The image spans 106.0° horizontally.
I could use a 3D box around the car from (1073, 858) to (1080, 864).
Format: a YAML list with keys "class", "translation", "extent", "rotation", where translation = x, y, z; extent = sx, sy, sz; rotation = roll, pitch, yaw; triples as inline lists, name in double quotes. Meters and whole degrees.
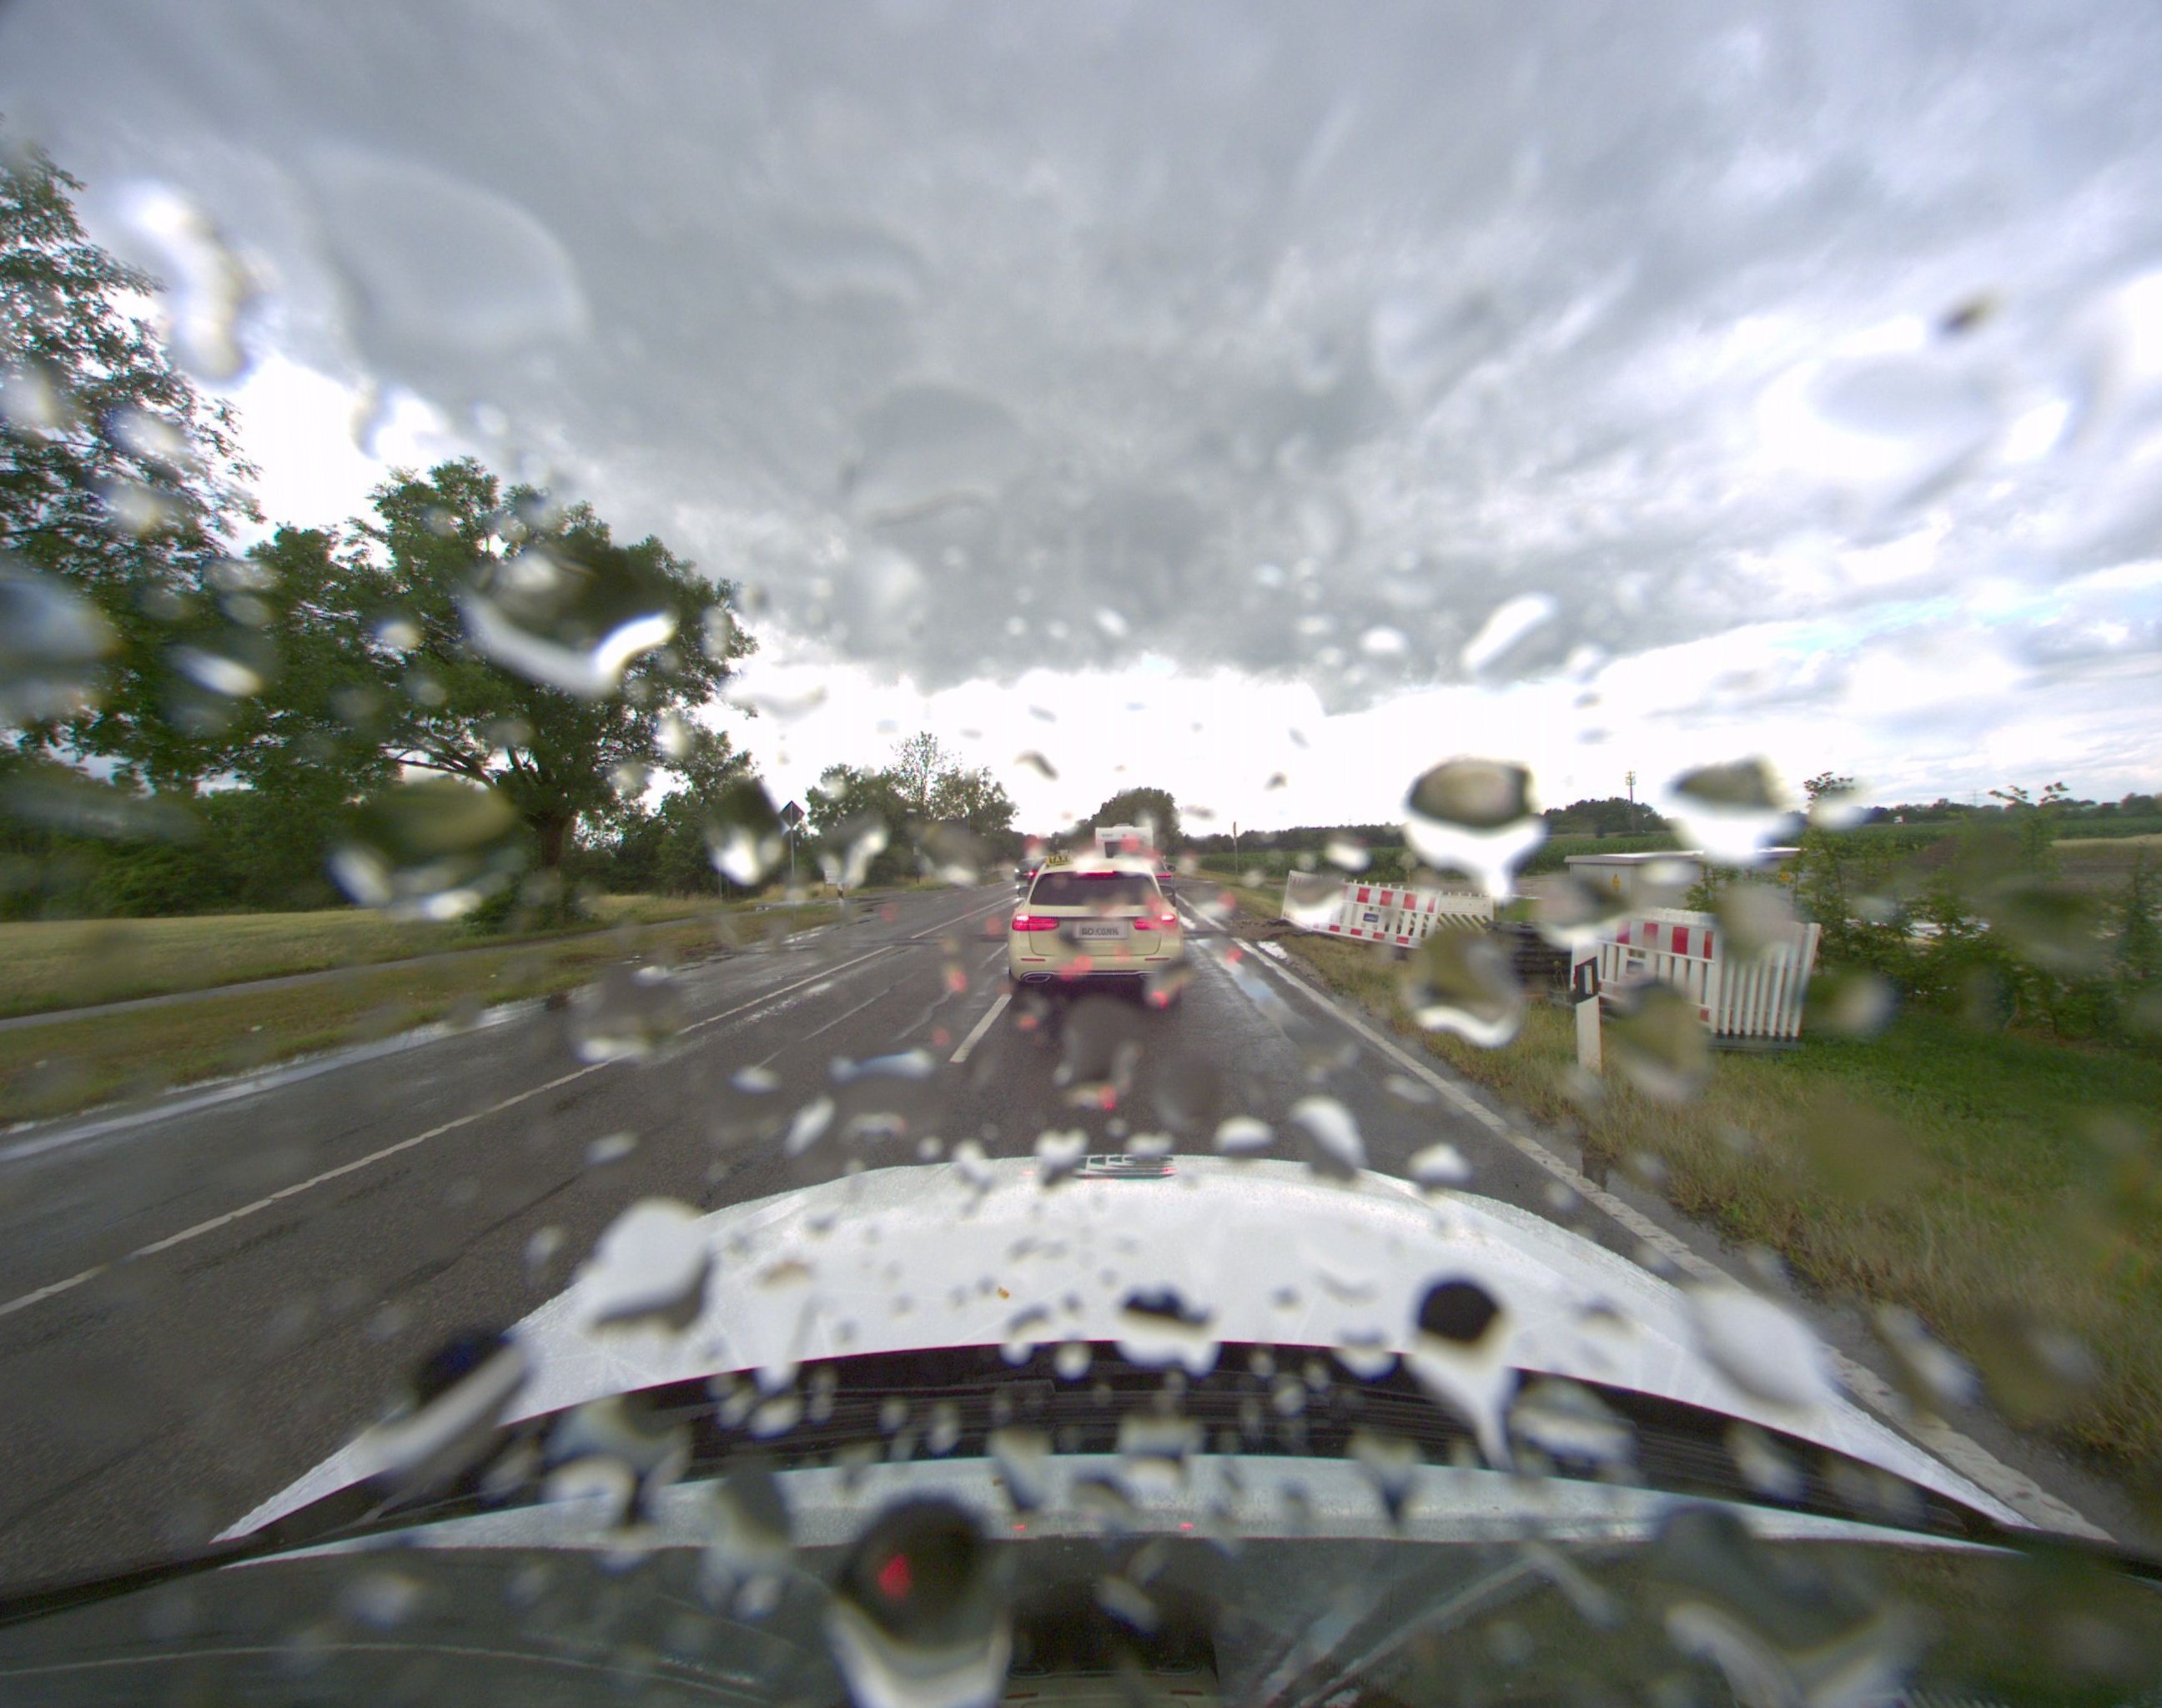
- class: "car"
  translation: [-1.496, 2.114, 249.852]
  extent: [1.888, 1.839, 3.883]
  rotation: [-2, 0, 2]

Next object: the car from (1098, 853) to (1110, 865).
- class: "car"
  translation: [3.607, 0.836, 129.574]
  extent: [1.784, 1.777, 3.722]
  rotation: [-2, 0, 2]

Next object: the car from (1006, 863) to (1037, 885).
- class: "car"
  translation: [-4.142, 1.379, 57.253]
  extent: [1.713, 1.404, 4.044]
  rotation: [-4, 0, 1]

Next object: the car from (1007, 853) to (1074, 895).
- class: "car"
  translation: [-1.518, 0.758, 32.661]
  extent: [2.293, 1.547, 4.634]
  rotation: [0, 0, 2]

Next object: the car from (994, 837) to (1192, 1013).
- class: "car"
  translation: [0.176, 0.675, 9.620]
  extent: [1.836, 1.618, 4.002]
  rotation: [-1, 0, 2]

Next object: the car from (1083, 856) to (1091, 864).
- class: "car"
  translation: [1.596, 1.615, 209.959]
  extent: [1.890, 1.895, 3.841]
  rotation: [-2, 0, -1]

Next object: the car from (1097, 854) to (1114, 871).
- class: "car"
  translation: [3.061, 1.021, 100.635]
  extent: [1.985, 2.013, 4.003]
  rotation: [-2, 0, 3]

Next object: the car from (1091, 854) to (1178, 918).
- class: "car"
  translation: [1.301, 0.741, 20.745]
  extent: [1.986, 1.462, 4.002]
  rotation: [0, 0, 2]

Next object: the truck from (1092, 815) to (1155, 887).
- class: "truck"
  translation: [1.774, -0.111, 35.357]
  extent: [2.354, 2.729, 7.317]
  rotation: [-2, 0, 2]

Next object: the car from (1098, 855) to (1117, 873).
- class: "car"
  translation: [2.777, 1.033, 85.663]
  extent: [1.908, 1.841, 3.798]
  rotation: [-2, 0, 2]
